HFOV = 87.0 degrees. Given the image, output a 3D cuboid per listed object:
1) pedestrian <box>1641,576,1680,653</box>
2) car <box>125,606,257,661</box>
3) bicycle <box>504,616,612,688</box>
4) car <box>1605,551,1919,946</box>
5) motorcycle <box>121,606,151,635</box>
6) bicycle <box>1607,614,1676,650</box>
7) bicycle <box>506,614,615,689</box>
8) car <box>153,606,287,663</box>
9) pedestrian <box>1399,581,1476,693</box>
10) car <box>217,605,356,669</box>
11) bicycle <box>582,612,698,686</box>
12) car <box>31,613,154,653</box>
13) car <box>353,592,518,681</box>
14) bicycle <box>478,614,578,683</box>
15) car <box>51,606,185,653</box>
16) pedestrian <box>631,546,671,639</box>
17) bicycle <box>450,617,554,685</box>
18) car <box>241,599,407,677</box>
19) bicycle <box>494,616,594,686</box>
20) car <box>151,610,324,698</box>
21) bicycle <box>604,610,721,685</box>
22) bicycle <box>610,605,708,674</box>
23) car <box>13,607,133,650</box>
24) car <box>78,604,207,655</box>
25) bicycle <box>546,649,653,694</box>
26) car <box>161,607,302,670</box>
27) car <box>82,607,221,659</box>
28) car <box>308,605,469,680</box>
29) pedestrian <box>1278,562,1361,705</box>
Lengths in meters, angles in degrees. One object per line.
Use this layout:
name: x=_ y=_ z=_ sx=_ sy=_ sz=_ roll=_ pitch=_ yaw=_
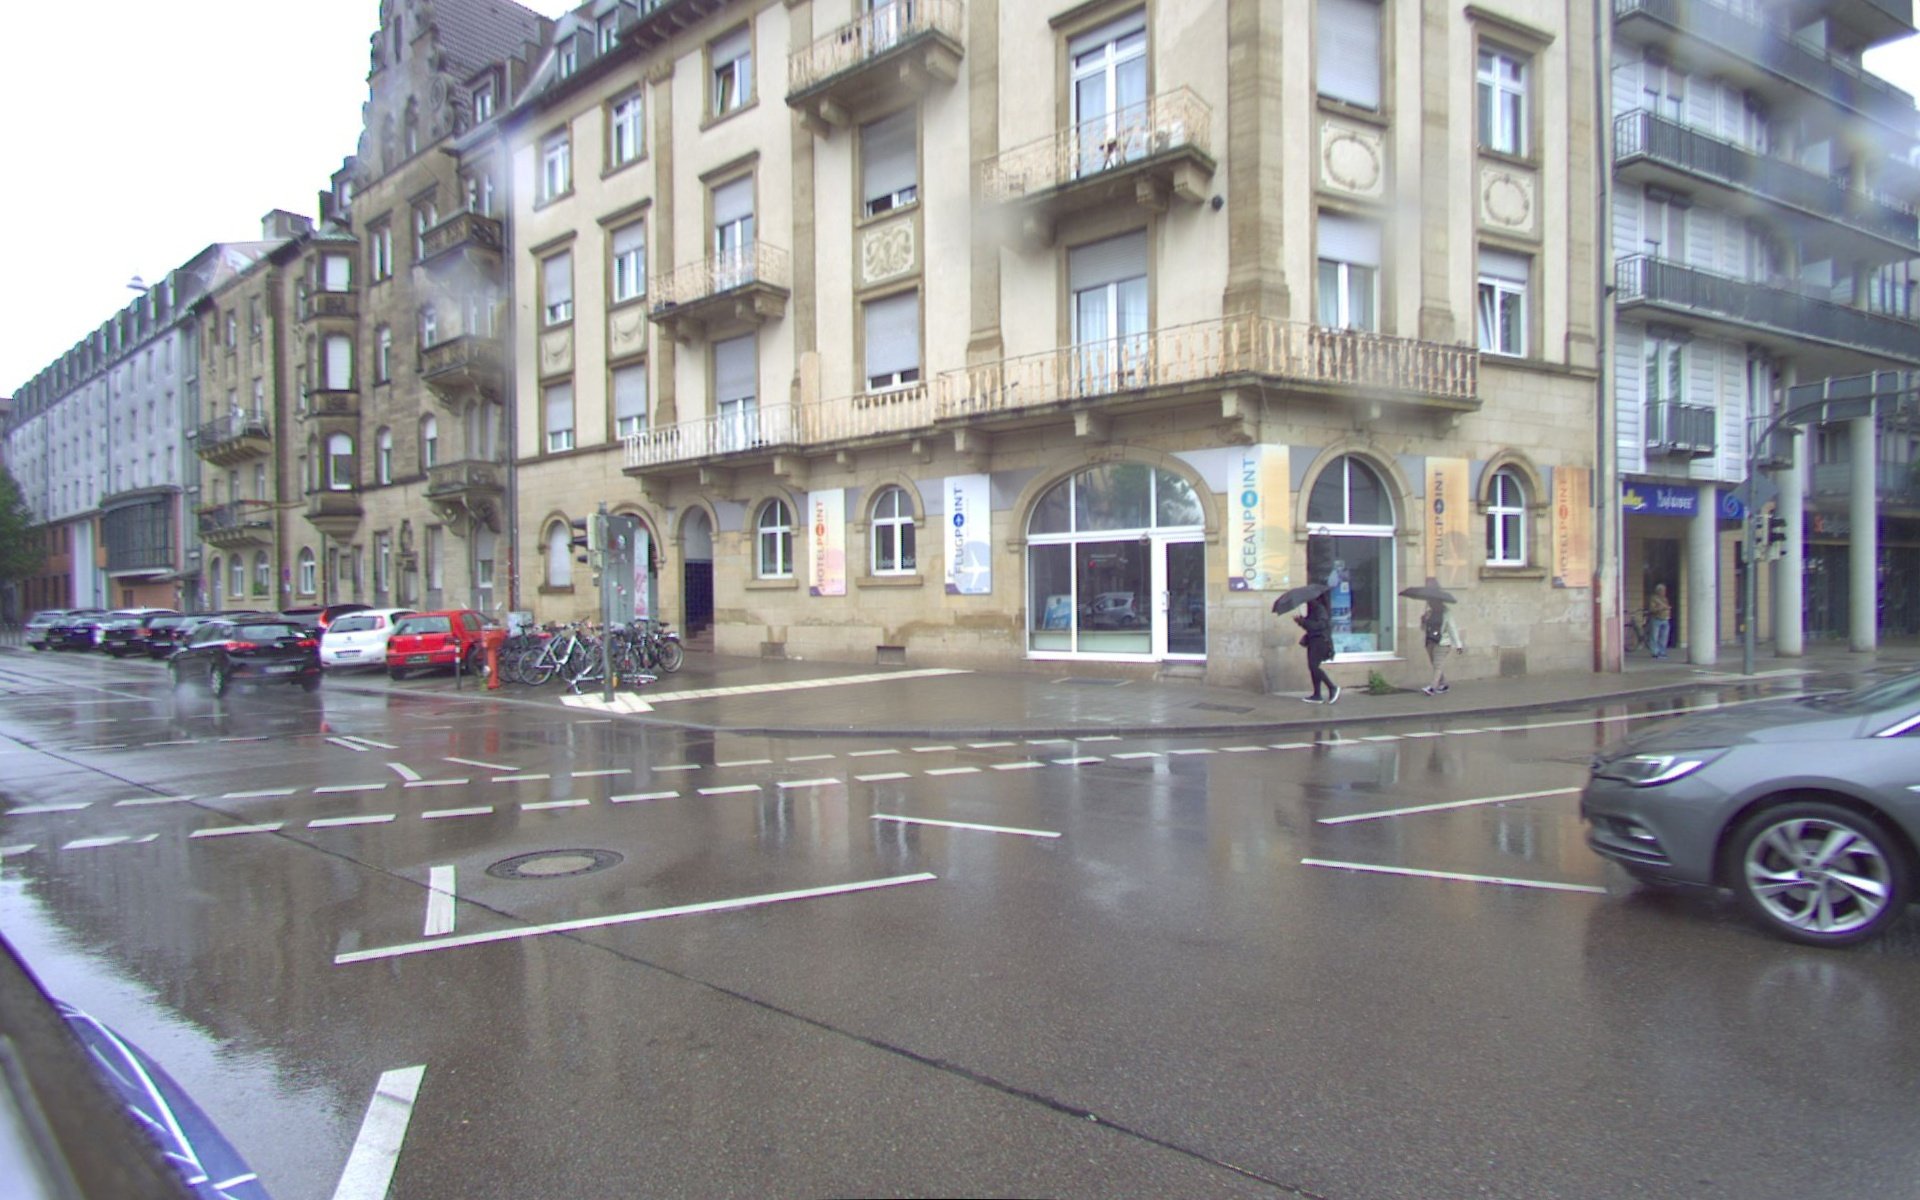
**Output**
pedestrian: x=16.394 y=0.331 z=23.681 sx=0.601 sy=1.793 sz=0.501 roll=-1 pitch=0 yaw=-26
car: x=-25.864 y=1.078 z=34.217 sx=1.605 sy=1.555 sz=3.760 roll=-2 pitch=2 yaw=-1
bicycle: x=-7.871 y=0.987 z=19.897 sx=0.474 sy=1.193 sz=1.963 roll=-1 pitch=4 yaw=36
car: x=5.187 y=0.564 z=3.948 sx=4.335 sy=1.558 sz=1.709 roll=-1 pitch=-1 yaw=39
motorcycle: x=-43.594 y=1.063 z=53.539 sx=2.360 sy=1.474 sz=0.767 roll=-1 pitch=-1 yaw=39
bicycle: x=17.718 y=0.822 z=26.313 sx=1.894 sy=0.873 sz=0.583 roll=-1 pitch=0 yaw=-25
bicycle: x=-7.652 y=0.963 z=19.471 sx=0.437 sy=1.340 sz=1.955 roll=-1 pitch=0 yaw=41
car: x=-23.607 y=1.071 z=32.439 sx=1.607 sy=1.555 sz=3.441 roll=-2 pitch=2 yaw=3
pedestrian: x=7.488 y=0.555 z=15.889 sx=0.731 sy=1.671 sz=0.743 roll=-1 pitch=4 yaw=-32
car: x=-19.041 y=1.003 z=28.795 sx=1.677 sy=1.536 sz=3.310 roll=-2 pitch=2 yaw=1
bicycle: x=-6.357 y=0.943 z=20.255 sx=0.638 sy=1.356 sz=2.321 roll=-1 pitch=0 yaw=34
car: x=-35.232 y=1.304 z=41.215 sx=1.696 sy=1.539 sz=3.723 roll=0 pitch=0 yaw=4
car: x=-11.806 y=0.743 z=23.105 sx=1.777 sy=1.519 sz=4.004 roll=-1 pitch=5 yaw=-3
bicycle: x=-8.733 y=0.962 z=20.533 sx=0.474 sy=1.193 sz=1.794 roll=-1 pitch=4 yaw=37
car: x=-32.997 y=1.124 z=39.802 sx=1.880 sy=1.538 sz=3.719 roll=0 pitch=3 yaw=8
pedestrian: x=-7.959 y=-0.195 z=26.084 sx=0.834 sy=2.357 sz=0.767 roll=-1 pitch=0 yaw=-29
bicycle: x=-9.499 y=1.033 z=21.028 sx=0.600 sy=1.193 sz=1.790 roll=-1 pitch=4 yaw=44
car: x=-16.424 y=0.914 z=26.418 sx=1.739 sy=1.704 sz=4.086 roll=-2 pitch=2 yaw=0
bicycle: x=-8.292 y=0.998 z=20.251 sx=0.467 sy=1.193 sz=1.794 roll=-1 pitch=4 yaw=37
car: x=-14.304 y=0.992 z=19.989 sx=3.772 sy=1.558 sz=1.727 roll=0 pitch=0 yaw=37
bicycle: x=-5.808 y=0.891 z=19.898 sx=0.638 sy=1.356 sz=2.321 roll=-1 pitch=0 yaw=34
bicycle: x=-6.243 y=0.786 z=21.088 sx=0.583 sy=1.356 sz=2.040 roll=-1 pitch=0 yaw=34
car: x=-37.672 y=1.183 z=43.095 sx=1.790 sy=1.743 sz=3.925 roll=0 pitch=0 yaw=-2
car: x=-30.705 y=1.068 z=38.168 sx=1.754 sy=1.639 sz=3.726 roll=-2 pitch=2 yaw=1
bicycle: x=-6.353 y=1.261 z=17.915 sx=1.461 sy=0.668 sz=1.040 roll=-1 pitch=2 yaw=9
car: x=-21.390 y=1.088 z=29.878 sx=1.677 sy=1.555 sz=3.430 roll=-2 pitch=2 yaw=0
car: x=-28.448 y=1.127 z=35.772 sx=1.756 sy=1.555 sz=3.723 roll=-2 pitch=2 yaw=4
car: x=-13.928 y=0.982 z=24.952 sx=1.680 sy=1.545 sz=3.995 roll=-2 pitch=1 yaw=0
pedestrian: x=5.188 y=0.457 z=14.656 sx=0.689 sy=1.980 sz=0.924 roll=0 pitch=2 yaw=-12
